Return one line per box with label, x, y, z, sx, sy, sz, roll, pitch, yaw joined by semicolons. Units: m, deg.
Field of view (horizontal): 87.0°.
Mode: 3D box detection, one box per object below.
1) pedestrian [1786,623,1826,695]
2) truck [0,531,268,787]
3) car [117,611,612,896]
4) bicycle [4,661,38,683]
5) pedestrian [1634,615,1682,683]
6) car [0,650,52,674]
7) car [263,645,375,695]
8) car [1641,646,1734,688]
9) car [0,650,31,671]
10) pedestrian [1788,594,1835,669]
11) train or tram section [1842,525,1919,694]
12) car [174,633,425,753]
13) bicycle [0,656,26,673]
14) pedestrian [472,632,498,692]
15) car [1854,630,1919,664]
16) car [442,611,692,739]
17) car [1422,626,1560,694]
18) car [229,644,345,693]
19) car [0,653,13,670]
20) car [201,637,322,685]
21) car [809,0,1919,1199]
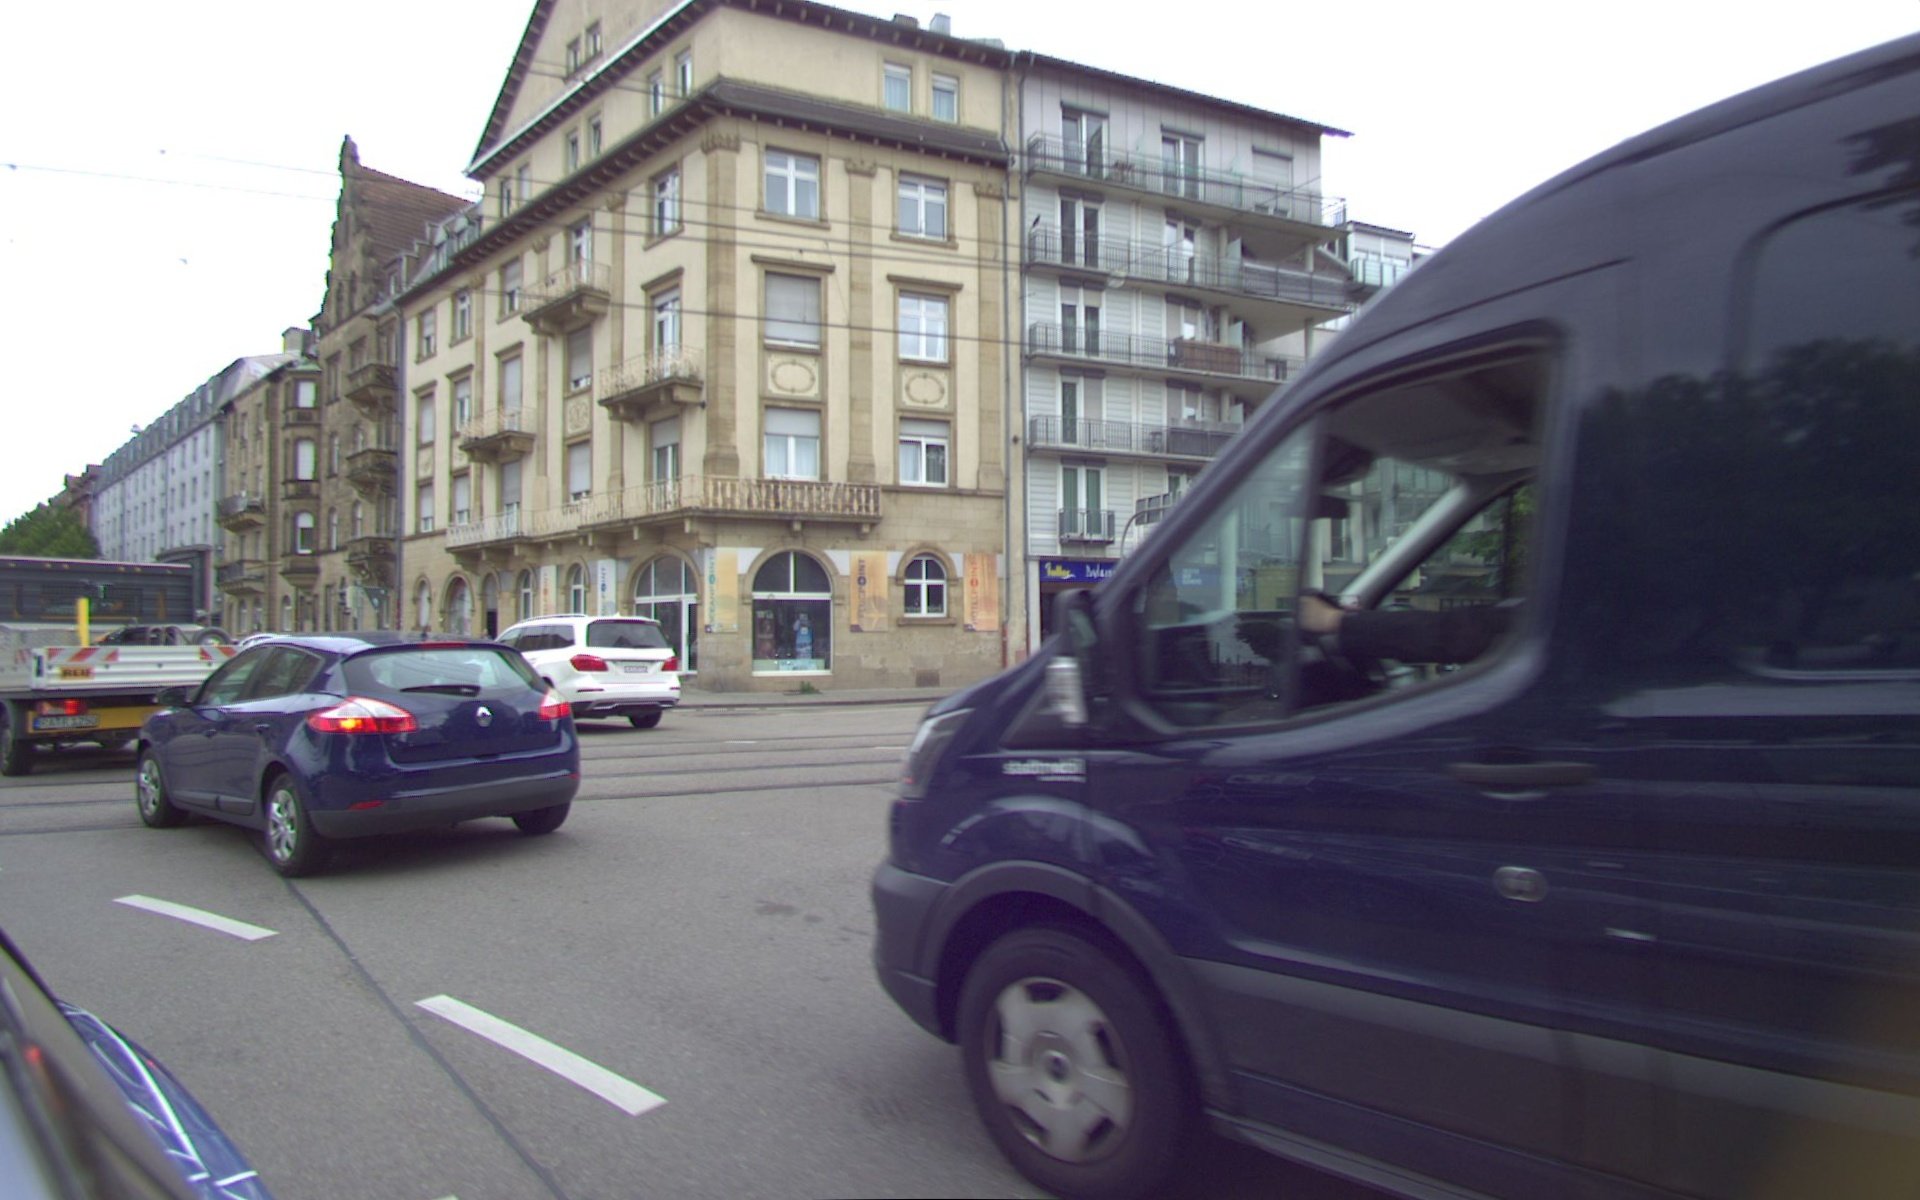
pedestrian;22.370;1.542;26.762;0.473;1.878;0.618;1;-3;-23
truck;-10.586;0.688;12.062;5.450;2.427;2.057;-2;-4;35
car;-4.348;0.891;7.195;3.897;1.500;1.651;-2;-3;37
bicycle;-62.225;4.791;67.095;0.416;1.364;1.608;-3;-2;41
pedestrian;16.712;1.165;24.235;0.720;1.615;0.590;1;-3;-23
car;-68.427;4.469;73.026;1.759;1.641;3.973;-1;-3;20
car;-22.204;2.370;35.226;1.658;1.483;4.005;-2;-1;-6
car;29.889;2.707;41.560;3.933;1.537;1.820;1;-2;-33
car;-75.117;4.722;78.513;1.985;1.641;3.973;-1;-3;20
pedestrian;21.491;0.793;25.537;0.720;1.878;0.590;1;-3;-23
train or tram section;24.908;0.245;24.301;7.135;3.790;2.694;1;-3;-24
car;-9.702;1.277;14.785;3.991;1.536;1.717;-2;-3;35
bicycle;-65.482;4.437;69.722;0.416;1.082;1.608;-3;-2;41
pedestrian;-15.816;2.065;33.666;0.551;1.973;0.612;-3;-4;44
car;45.425;2.261;49.073;3.931;1.591;1.695;1;-3;-27
car;-6.719;1.191;16.957;5.226;1.840;1.846;-3;-3;43
car;16.175;1.781;30.828;3.931;1.928;1.695;1;-2;-27
car;-24.606;2.463;37.171;1.543;1.483;3.999;-2;0;0
car;-84.384;5.332;87.001;1.725;1.508;3.973;-1;-3;20
car;-26.589;2.287;38.729;1.707;1.664;4.224;-1;-1;0
car;2.321;0.185;1.947;5.577;2.470;2.111;-3;-3;42
